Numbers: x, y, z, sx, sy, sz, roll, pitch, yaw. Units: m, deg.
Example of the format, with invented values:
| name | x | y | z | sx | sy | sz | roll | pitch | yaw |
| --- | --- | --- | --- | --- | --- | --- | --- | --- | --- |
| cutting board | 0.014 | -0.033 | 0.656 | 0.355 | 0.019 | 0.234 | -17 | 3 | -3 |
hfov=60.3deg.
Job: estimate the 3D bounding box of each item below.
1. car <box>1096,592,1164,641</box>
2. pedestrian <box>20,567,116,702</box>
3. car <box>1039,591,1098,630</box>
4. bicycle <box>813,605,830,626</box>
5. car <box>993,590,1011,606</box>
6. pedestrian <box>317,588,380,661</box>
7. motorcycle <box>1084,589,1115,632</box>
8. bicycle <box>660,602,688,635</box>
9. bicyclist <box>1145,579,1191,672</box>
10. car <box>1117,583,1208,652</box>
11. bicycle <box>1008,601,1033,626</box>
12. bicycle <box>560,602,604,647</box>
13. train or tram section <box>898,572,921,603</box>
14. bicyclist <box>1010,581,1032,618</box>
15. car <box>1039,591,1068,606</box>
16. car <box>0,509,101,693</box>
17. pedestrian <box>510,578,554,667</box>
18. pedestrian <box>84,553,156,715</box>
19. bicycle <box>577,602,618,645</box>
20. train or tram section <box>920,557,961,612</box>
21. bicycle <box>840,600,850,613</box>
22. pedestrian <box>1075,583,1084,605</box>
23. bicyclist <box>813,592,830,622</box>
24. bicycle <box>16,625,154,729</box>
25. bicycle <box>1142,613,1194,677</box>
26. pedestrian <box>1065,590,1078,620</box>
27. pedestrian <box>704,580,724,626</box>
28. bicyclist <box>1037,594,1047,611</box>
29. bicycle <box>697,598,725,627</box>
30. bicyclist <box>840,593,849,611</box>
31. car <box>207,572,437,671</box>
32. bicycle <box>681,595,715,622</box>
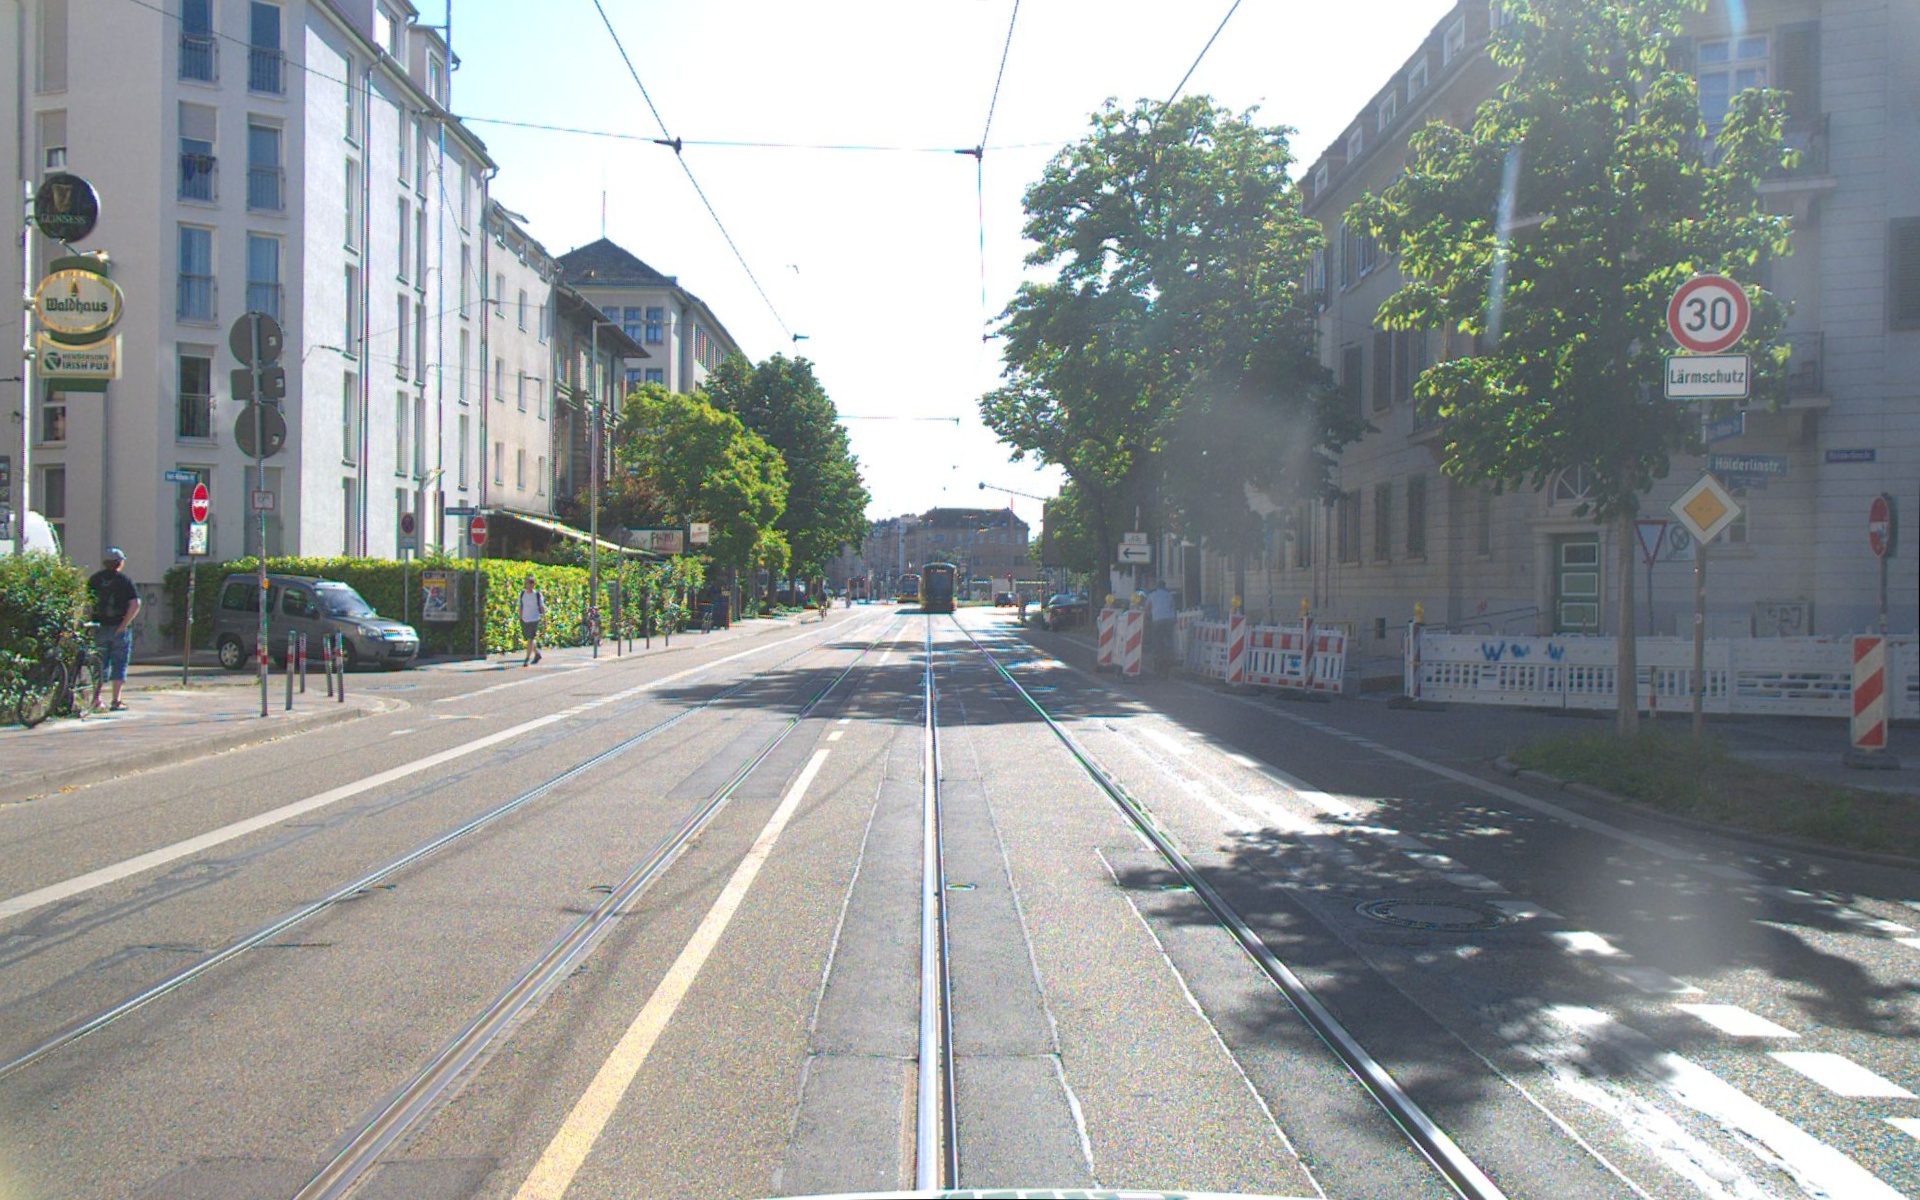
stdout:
| name | x | y | z | sx | sy | sz | roll | pitch | yaw |
| --- | --- | --- | --- | --- | --- | --- | --- | --- | --- |
| car | 5.303 | 0.483 | 51.967 | 1.688 | 1.406 | 4.356 | -1 | 0 | 1 |
| pedestrian | -11.428 | 0.439 | 21.207 | 0.691 | 1.683 | 0.831 | 0 | -1 | 30 |
| car | 4.463 | 0.411 | 68.622 | 1.786 | 1.484 | 4.814 | -1 | 0 | -4 |
| bicycle | -7.678 | 0.849 | 91.966 | 0.730 | 1.100 | 1.899 | -3 | 0 | 0 |
| car | 4.295 | -0.207 | 169.206 | 1.751 | 1.632 | 3.714 | 2 | 1 | 3 |
| pedestrian | -12.988 | 0.519 | 35.140 | 0.933 | 1.503 | 0.757 | 2 | 0 | 18 |
| motorcycle | 5.080 | 0.382 | 60.364 | 0.895 | 1.514 | 2.679 | -2 | 0 | 0 |
| bicycle | -9.914 | 0.638 | 57.391 | 0.625 | 1.077 | 1.743 | 3 | 0 | 0 |
| bicyclist | 3.934 | 0.467 | 31.304 | 0.723 | 1.715 | 0.972 | 2 | 0 | 1 |
| car | 5.326 | 0.426 | 44.007 | 1.773 | 1.654 | 4.583 | -2 | 0 | 0 |
| bicycle | 2.907 | 0.632 | 79.159 | 0.690 | 1.124 | 1.718 | 2 | 1 | 18 |
| bicycle | -9.781 | 0.633 | 42.844 | 0.648 | 1.108 | 1.840 | 3 | -1 | 0 |
| train or tram section | -6.349 | -1.640 | 208.478 | 2.687 | 3.715 | 13.781 | 0 | 1 | -2 |
| bicyclist | 2.926 | -0.032 | 79.148 | 0.690 | 1.704 | 1.102 | 2 | 1 | 18 |
| car | 10.899 | -0.210 | 191.932 | 1.672 | 1.672 | 3.701 | 2 | 1 | 34 |
| car | -16.097 | 0.008 | 25.942 | 1.846 | 2.891 | 4.786 | 0 | -1 | 16 |
| pedestrian | -8.707 | 0.450 | 33.671 | 0.677 | 1.799 | 0.866 | 0 | 0 | 0 |
| pedestrian | -9.531 | 0.378 | 18.779 | 0.546 | 1.813 | 0.538 | 0 | 0 | -4 |
| bicycle | -9.829 | 0.633 | 44.878 | 0.648 | 1.108 | 1.840 | 3 | -1 | 0 |
| train or tram section | -1.494 | -1.152 | 120.959 | 2.687 | 3.715 | 13.781 | 0 | 1 | -2 |
| bicycle | -10.599 | 0.614 | 152.305 | 0.672 | 1.144 | 1.932 | -2 | 0 | 3 |
| pedestrian | 11.010 | -0.556 | 152.464 | 0.624 | 1.937 | 1.134 | -2 | 0 | 0 |
| bicyclist | -7.699 | 0.367 | 91.966 | 0.730 | 1.627 | 1.118 | -3 | 0 | 0 |
| bicycle | -9.106 | 0.777 | 17.280 | 0.516 | 0.998 | 1.777 | 0 | 0 | -1 |
| bicycle | 3.922 | 0.829 | 31.315 | 0.723 | 1.113 | 2.111 | 2 | 0 | 1 |
| pedestrian | 6.854 | 0.306 | 101.953 | 0.670 | 1.882 | 0.955 | -1 | 0 | -2 |
| pedestrian | -10.121 | 0.119 | 68.085 | 0.563 | 1.863 | 0.690 | 0 | 0 | 18 |
| bicyclist | 8.472 | 0.212 | 171.691 | 0.691 | 1.730 | 0.986 | 3 | 1 | 23 |
| bicycle | -10.507 | 0.530 | 69.806 | 0.632 | 1.163 | 1.906 | 2 | 0 | 7 |
| bicyclist | -10.617 | 0.180 | 152.286 | 0.672 | 1.673 | 1.238 | -2 | 0 | 3 |
| car | -12.418 | 0.425 | 32.228 | 3.957 | 1.839 | 1.792 | 0 | -1 | 20 |
| bicycle | -10.806 | 0.347 | 68.269 | 0.623 | 1.064 | 2.023 | 0 | 0 | 15 |
